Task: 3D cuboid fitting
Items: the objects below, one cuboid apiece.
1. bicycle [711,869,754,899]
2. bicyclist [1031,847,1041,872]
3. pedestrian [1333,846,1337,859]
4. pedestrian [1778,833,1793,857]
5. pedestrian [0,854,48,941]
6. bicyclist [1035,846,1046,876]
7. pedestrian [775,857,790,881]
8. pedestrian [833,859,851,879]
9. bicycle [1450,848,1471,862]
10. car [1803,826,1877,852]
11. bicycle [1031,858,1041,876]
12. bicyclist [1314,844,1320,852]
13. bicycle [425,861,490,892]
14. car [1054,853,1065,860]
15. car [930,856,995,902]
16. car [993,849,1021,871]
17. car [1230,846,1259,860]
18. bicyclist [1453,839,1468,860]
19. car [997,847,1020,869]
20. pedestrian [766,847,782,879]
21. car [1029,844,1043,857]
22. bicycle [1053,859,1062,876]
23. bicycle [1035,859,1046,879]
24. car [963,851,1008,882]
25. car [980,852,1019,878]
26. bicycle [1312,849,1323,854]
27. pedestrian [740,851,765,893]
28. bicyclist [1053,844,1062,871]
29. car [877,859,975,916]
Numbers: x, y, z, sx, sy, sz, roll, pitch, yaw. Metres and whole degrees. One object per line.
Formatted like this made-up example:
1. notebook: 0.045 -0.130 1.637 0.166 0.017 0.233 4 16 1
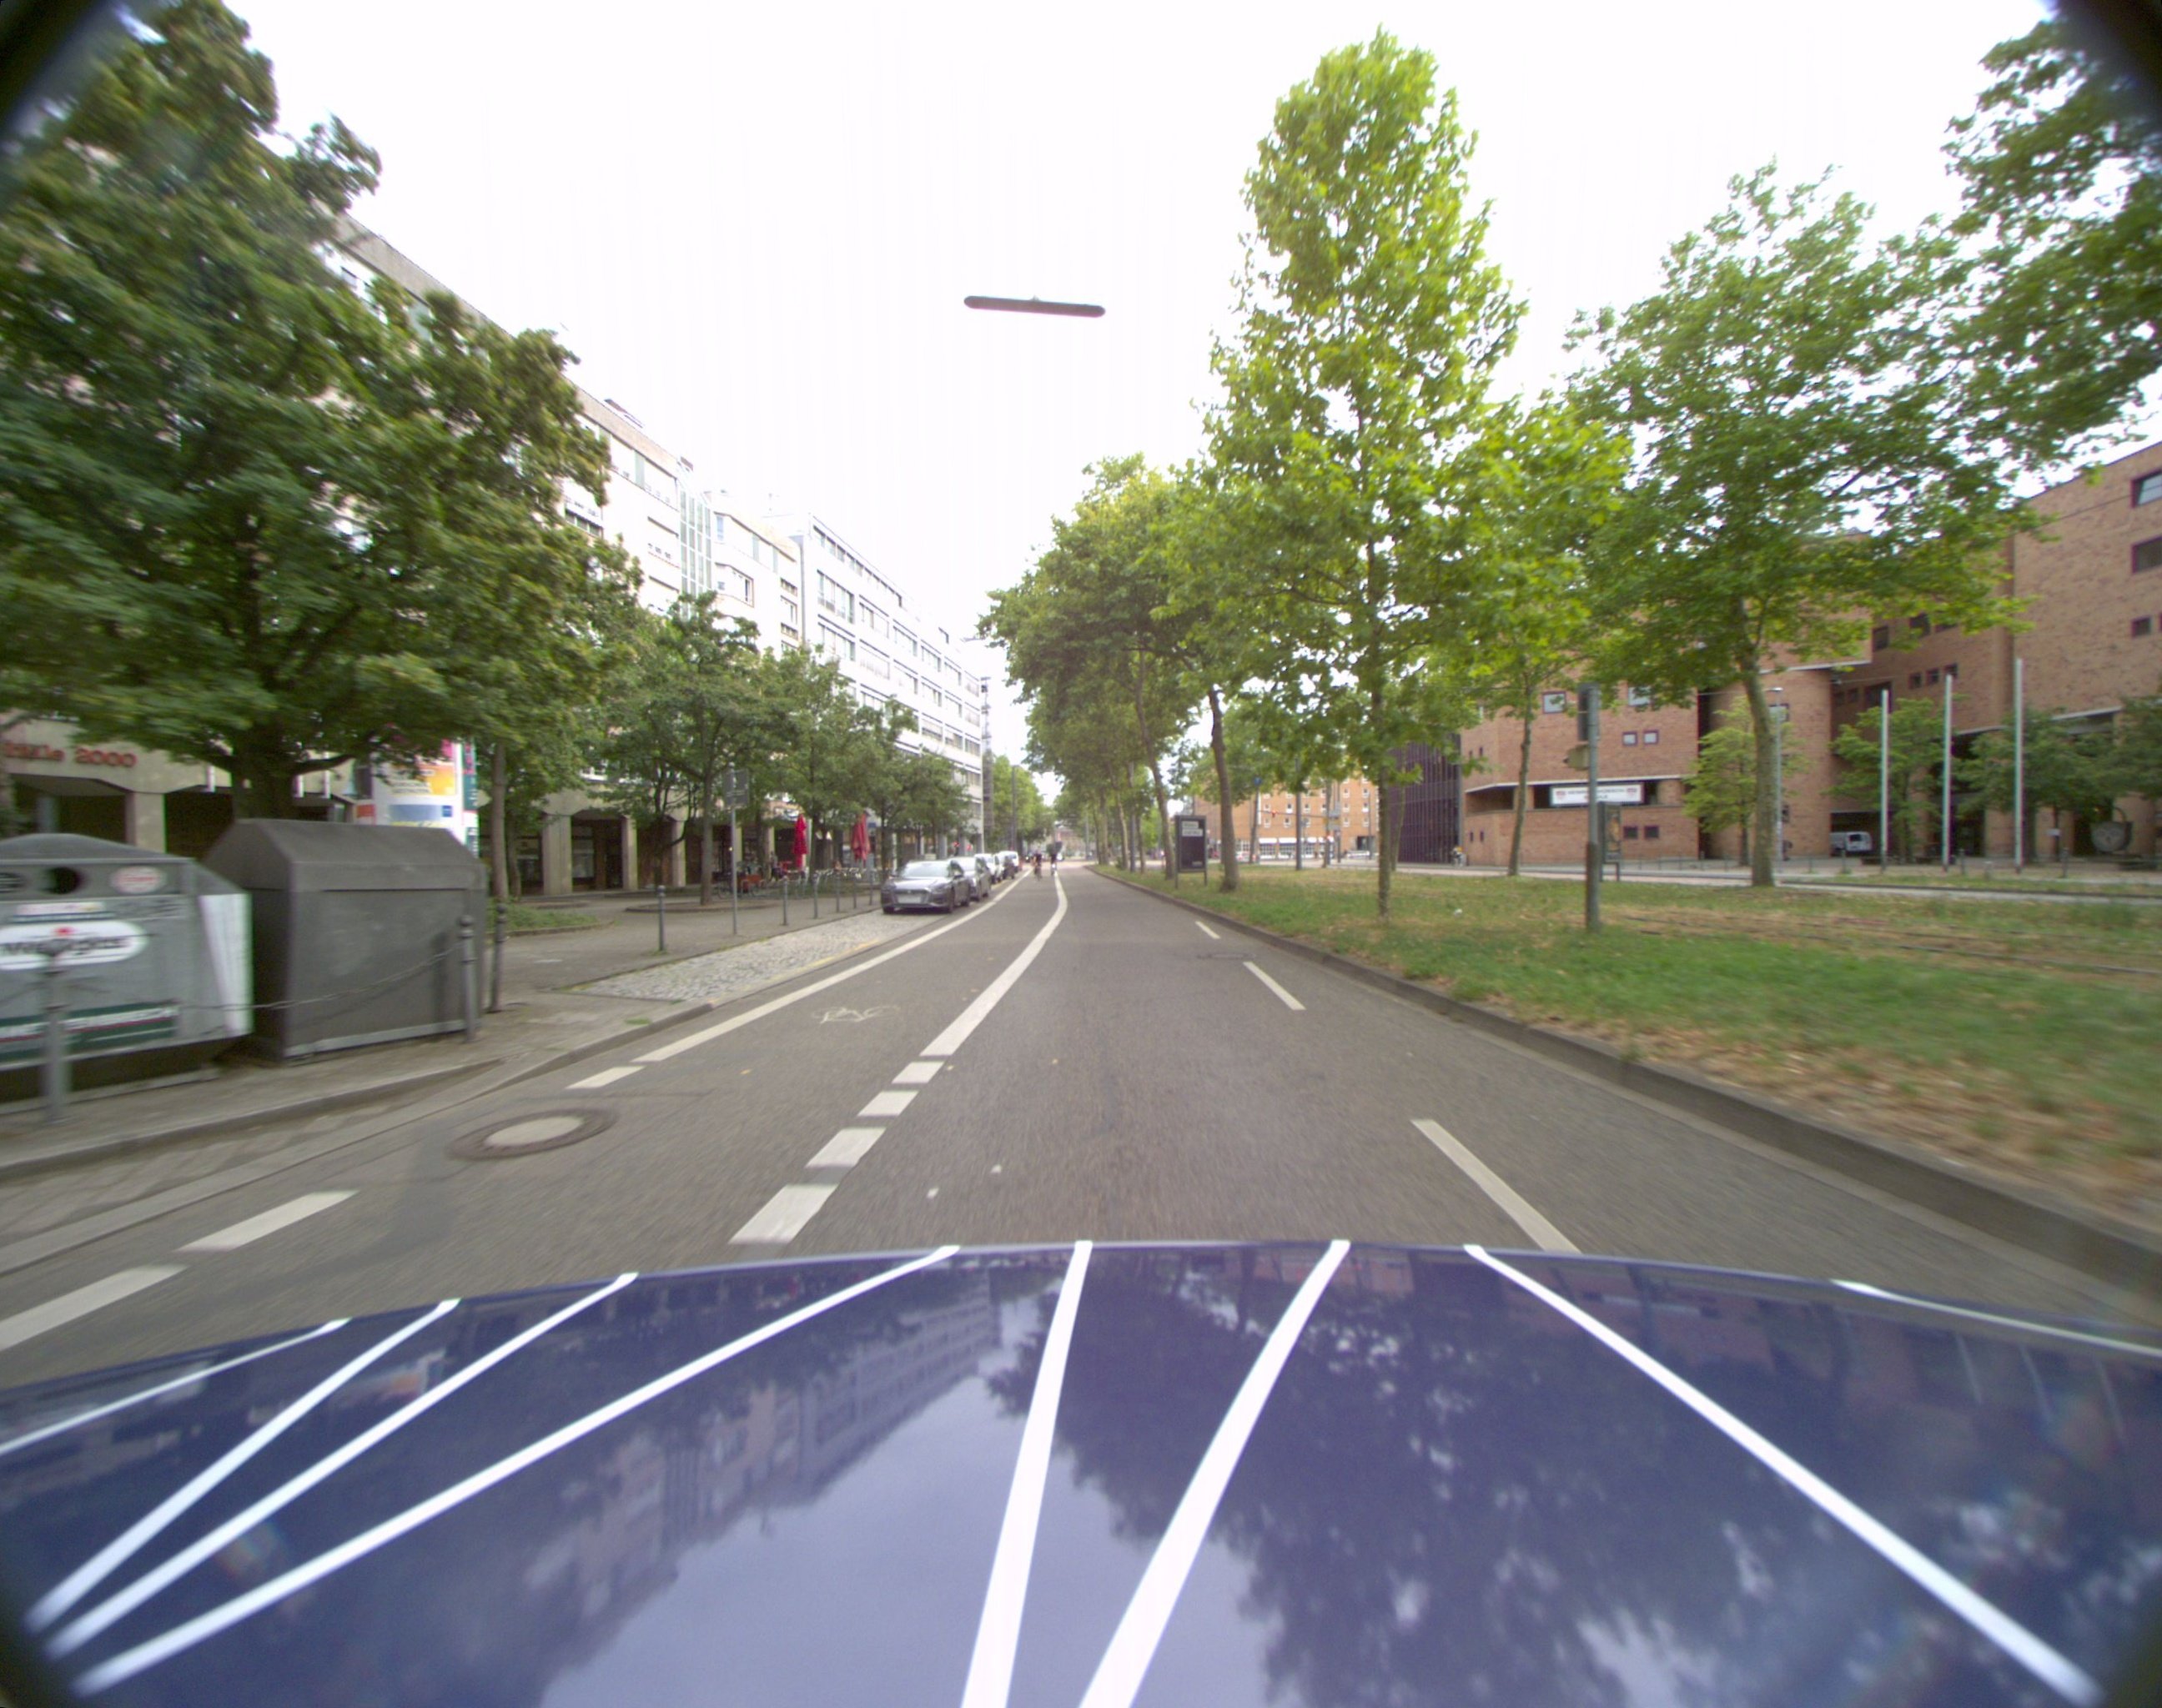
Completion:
1. bicycle: -12.522 1.054 27.339 0.486 1.007 1.863 -1 0 7
2. bicyclist: -3.032 0.353 51.032 0.591 1.644 1.035 0 1 -1
3. pedestrian: 41.734 -0.235 124.718 0.524 2.002 0.447 -1 1 13
4. pedestrian: 45.031 -0.544 48.539 0.508 1.523 0.521 -1 1 13
5. pedestrian: -20.711 0.826 14.580 0.534 1.653 0.851 -1 1 10
6. bicyclist: -2.449 0.422 45.838 0.591 1.758 1.035 0 1 -1
7. pedestrian: -15.023 0.749 38.263 0.516 1.170 0.458 -1 1 27
8. pedestrian: -14.652 0.916 46.560 0.822 1.150 0.699 -1 0 10
9. bicycle: 29.453 0.053 59.007 0.669 1.078 2.093 -1 1 1
10. car: 56.200 -1.091 56.347 1.896 1.797 4.003 -1 0 10
11. bicycle: -3.041 0.852 51.089 0.596 1.132 1.734 0 0 -1
12. bicyclist: 42.458 -1.061 136.566 0.865 1.493 0.636 -1 1 -4
13. bicycle: -21.360 0.755 26.079 0.486 1.007 1.863 -1 0 7
14. car: -4.352 0.506 152.878 1.845 1.369 3.834 -1 -1 3
15. car: -4.229 0.844 27.768 1.744 1.510 4.400 0 0 -1
16. car: -5.819 0.470 59.083 2.001 1.593 4.580 2 0 -7
17. car: 17.197 -0.097 80.142 1.788 1.413 4.656 -1 0 -3
18. bicyclist: 29.450 -0.338 59.021 0.665 1.581 0.984 -1 0 1
19. car: -6.232 0.327 65.878 1.832 1.853 4.646 1 0 -4
20. pedestrian: -15.252 0.460 37.762 0.516 1.560 0.481 0 1 34
21. car: -8.690 -0.781 147.845 2.174 2.441 6.997 -1 0 2
22. bicycle: -1.580 0.899 50.941 0.596 1.132 1.858 0 0 -1
23. bicycle: -2.442 0.886 45.727 0.596 1.132 2.090 0 0 -1
24. car: -5.219 0.646 41.889 1.866 1.643 4.163 0 0 1
25. car: -5.250 0.665 49.486 1.778 1.567 4.306 1 0 5
26. bicycle: 42.528 -0.417 136.579 1.796 0.777 0.639 -1 1 -4
27. pedestrian: -12.678 0.688 29.332 0.606 1.577 0.682 -1 1 8
28. bicyclist: -1.578 0.244 50.964 0.591 1.760 1.035 0 1 -1
29. car: -4.320 0.884 21.976 1.821 1.434 4.665 0 0 1
